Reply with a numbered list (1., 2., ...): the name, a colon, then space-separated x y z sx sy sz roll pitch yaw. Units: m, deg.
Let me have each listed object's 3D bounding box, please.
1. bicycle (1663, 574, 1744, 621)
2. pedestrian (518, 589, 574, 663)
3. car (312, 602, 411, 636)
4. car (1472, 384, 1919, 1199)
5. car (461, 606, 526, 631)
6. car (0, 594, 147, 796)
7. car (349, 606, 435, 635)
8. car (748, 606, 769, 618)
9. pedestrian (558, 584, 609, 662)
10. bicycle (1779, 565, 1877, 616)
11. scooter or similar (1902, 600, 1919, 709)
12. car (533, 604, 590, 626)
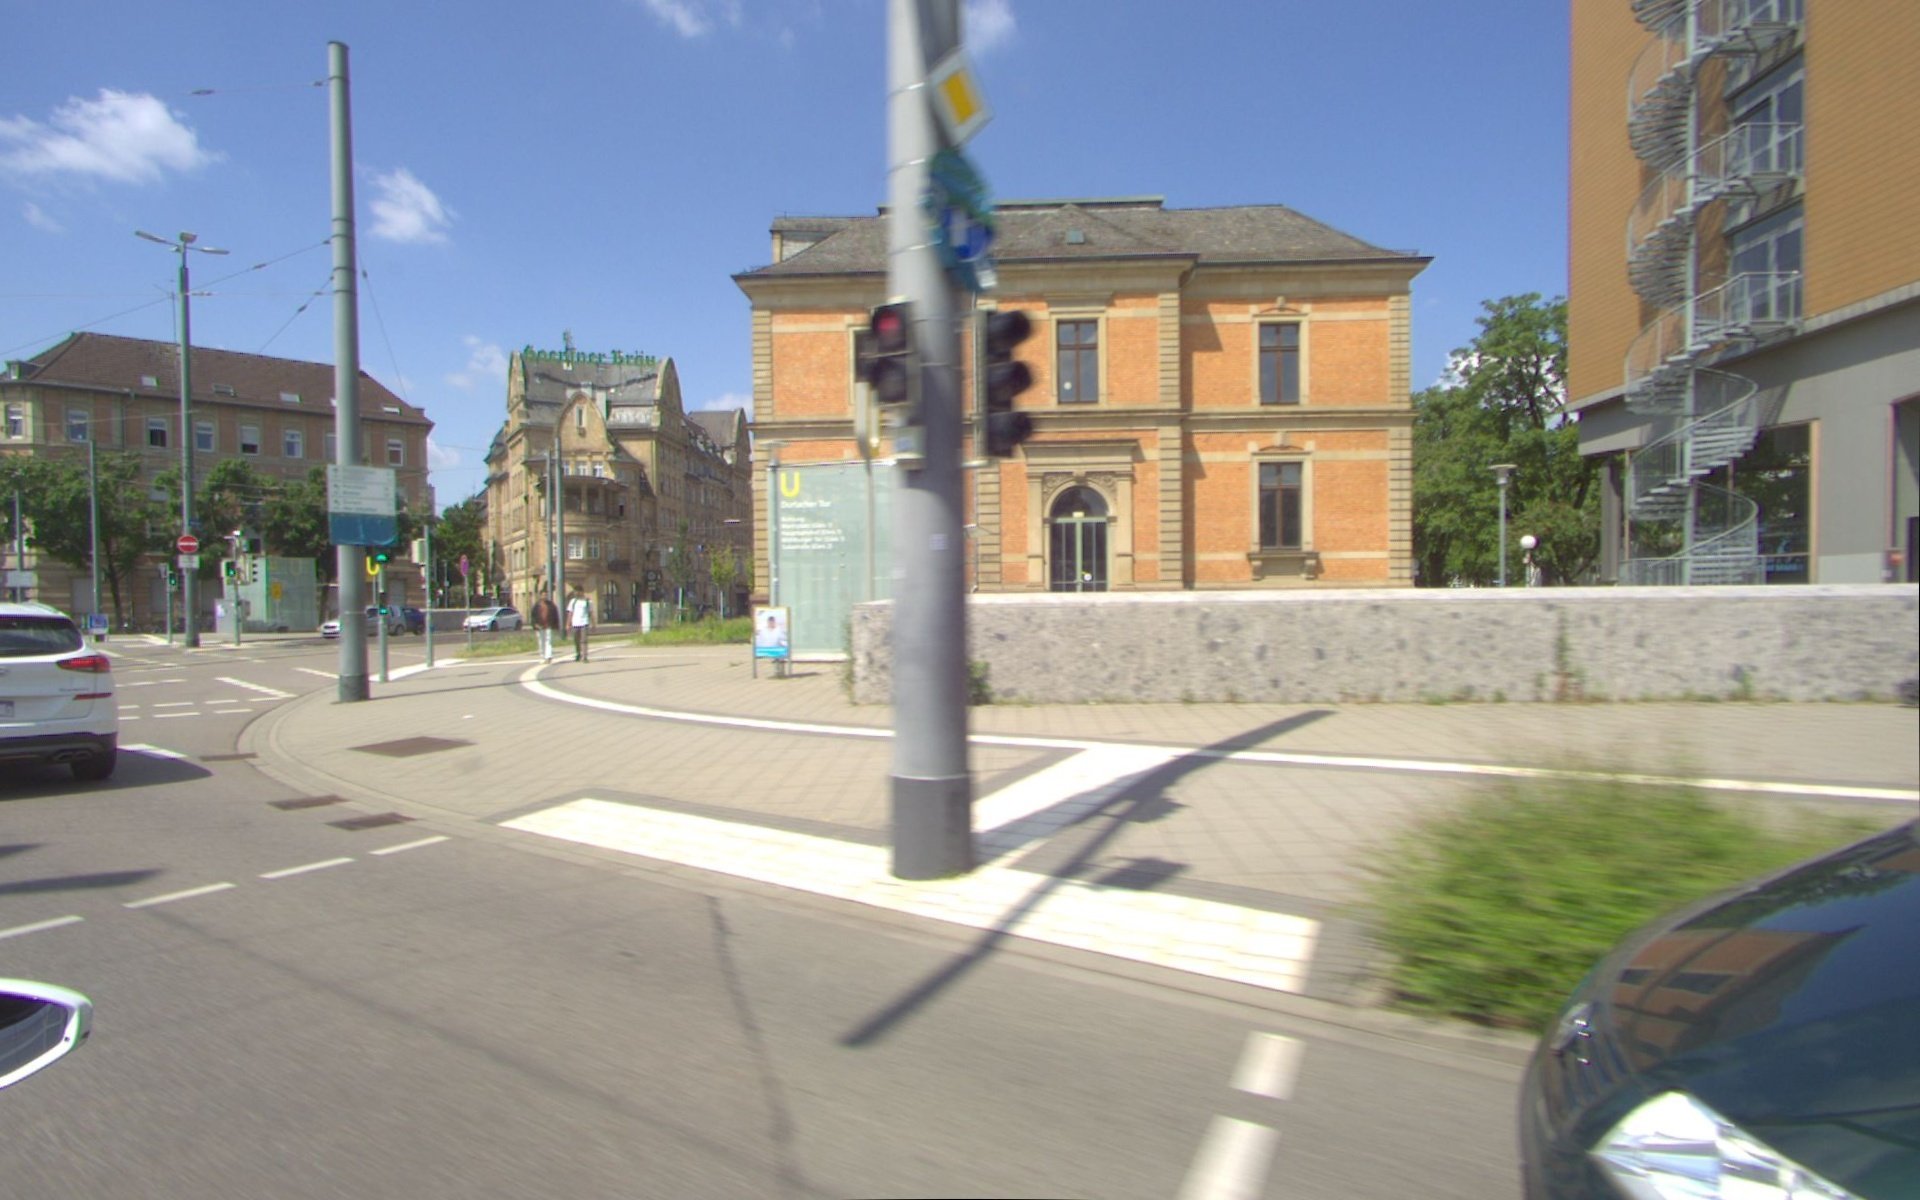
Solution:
1. bicycle: 18.133 -0.062 24.411 1.920 1.048 0.374 -2 -1 -12
2. pedestrian: -9.793 0.599 23.702 0.847 1.680 0.966 -3 2 -2
3. car: -28.252 0.868 47.414 1.691 1.493 4.137 -1 0 11
4. car: 2.980 0.628 0.844 4.386 1.744 1.791 -2 -2 33
5. car: -29.151 1.117 62.715 1.690 1.493 4.137 -1 0 9
6. car: -9.599 0.807 9.515 4.176 1.663 1.875 -1 0 36
7. car: -30.299 1.069 53.542 1.691 1.493 4.137 -1 0 11
8. car: -25.699 1.514 127.567 1.690 1.493 4.139 -1 0 2
9. pedestrian: -8.949 0.537 23.827 0.847 1.775 0.757 -3 2 -2
10. bicycle: 19.172 -0.208 22.123 1.846 1.048 0.396 -2 -1 -3
11. scooter or similar: 10.383 0.580 10.108 0.227 1.139 1.279 -1 1 -21
12. car: -27.792 1.032 69.950 1.691 1.493 4.137 -1 0 11
